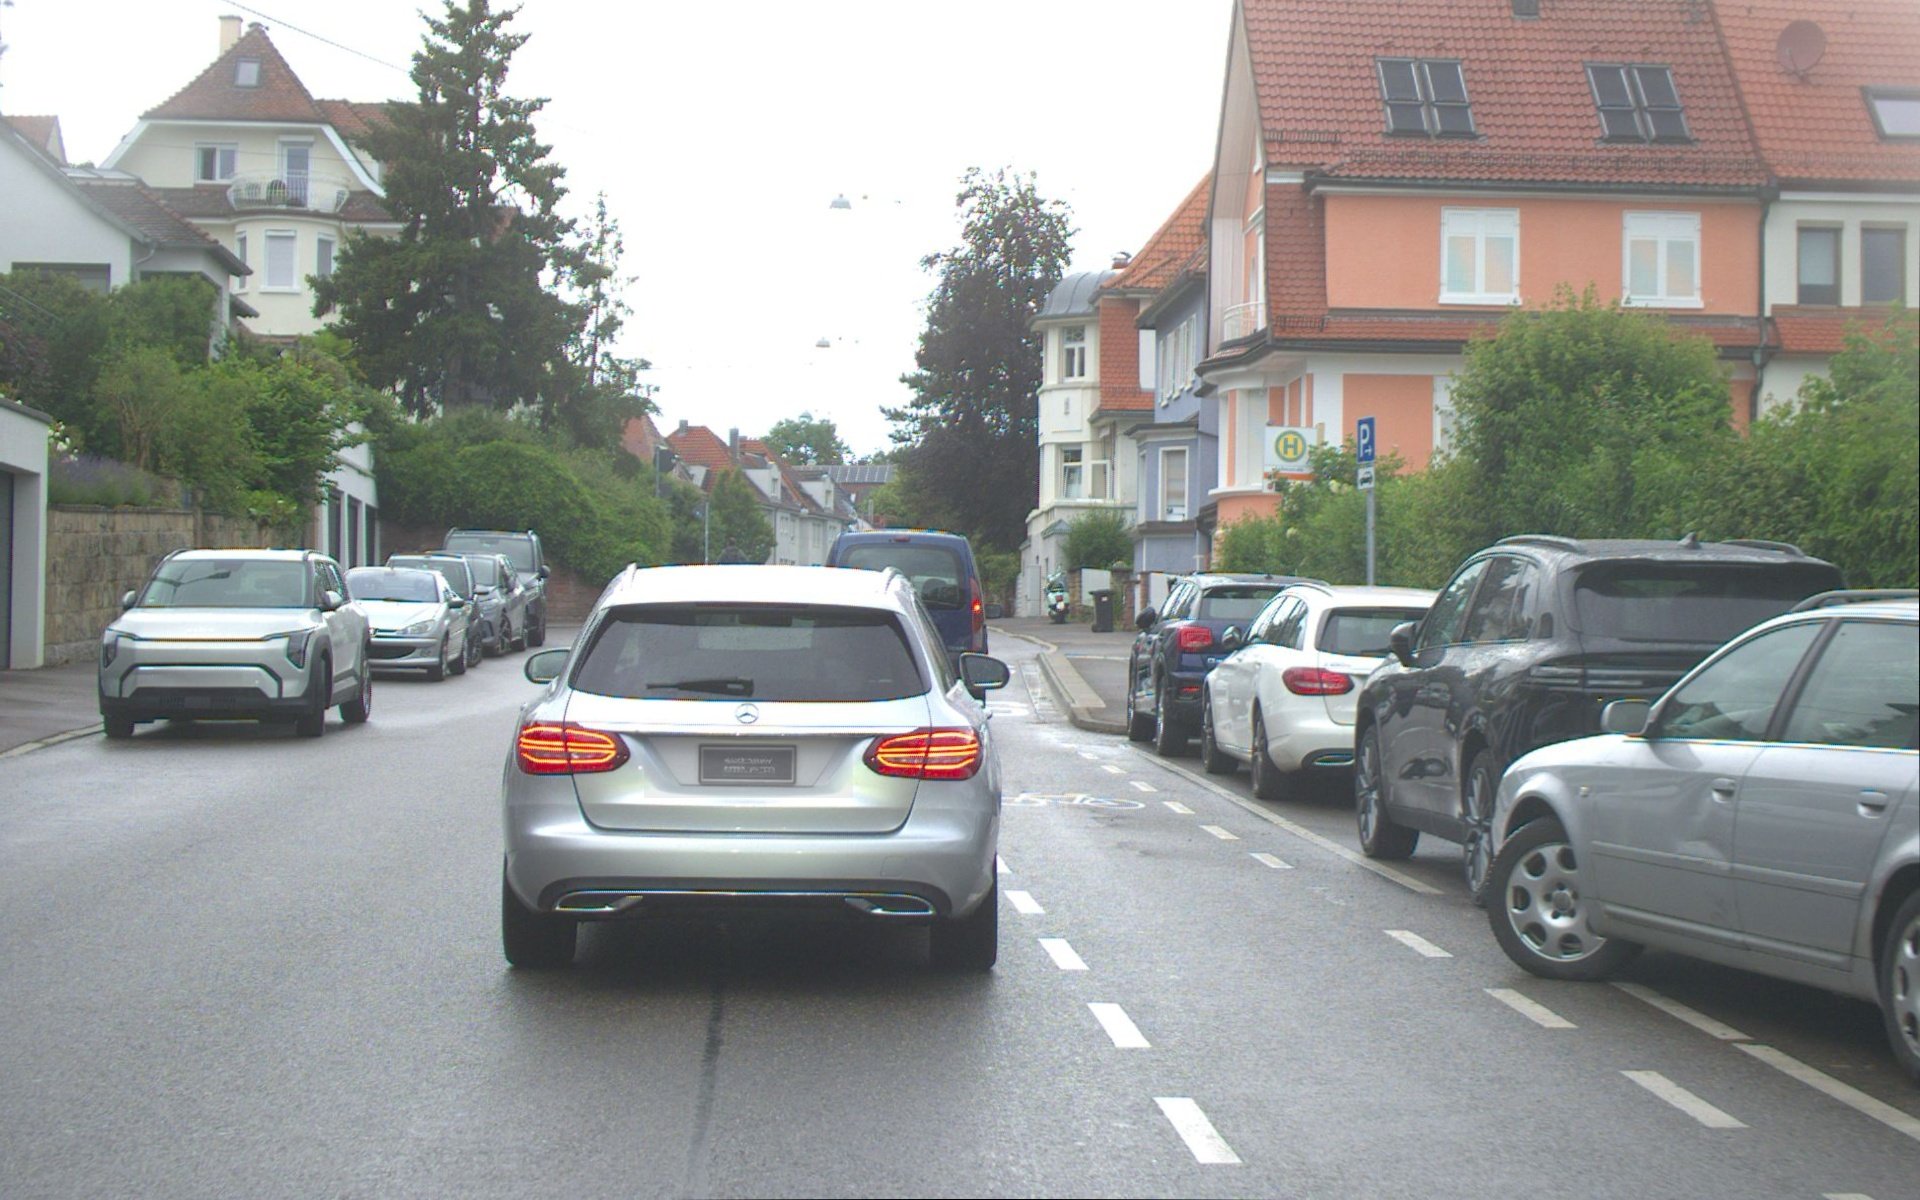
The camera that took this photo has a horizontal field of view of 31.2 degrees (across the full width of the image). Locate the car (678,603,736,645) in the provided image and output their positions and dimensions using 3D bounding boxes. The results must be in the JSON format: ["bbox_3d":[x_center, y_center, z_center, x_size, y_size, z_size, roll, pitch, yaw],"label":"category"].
[{"bbox_3d":[-9.701,0.909,132.254,2.117,1.466,4.017,2,0,-3],"label":"car"}]

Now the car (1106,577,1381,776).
[{"bbox_3d":[2.360,0.612,29.597,1.753,1.525,4.206,2,0,-3],"label":"car"}]

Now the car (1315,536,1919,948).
[{"bbox_3d":[3.090,0.585,16.800,1.887,1.657,4.549,3,0,-4],"label":"car"}]

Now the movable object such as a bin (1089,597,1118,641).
[{"bbox_3d":[3.077,0.401,73.672,0.549,0.933,0.634,-1,0,-2],"label":"movable object such as a bin"}]

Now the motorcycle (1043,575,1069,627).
[{"bbox_3d":[2.318,0.019,83.144,0.582,1.257,2.331,0,0,1],"label":"motorcycle"}]

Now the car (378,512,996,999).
[{"bbox_3d":[-0.926,0.495,13.383,1.982,1.548,4.298,1,0,-1],"label":"car"}]

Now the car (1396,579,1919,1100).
[{"bbox_3d":[3.233,0.711,11.405,1.798,1.435,4.644,2,1,-16],"label":"car"}]

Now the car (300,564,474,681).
[{"bbox_3d":[-7.118,0.250,43.006,1.609,1.333,3.841,2,0,-2],"label":"car"}]

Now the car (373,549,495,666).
[{"bbox_3d":[-7.279,0.085,47.775,1.496,1.518,3.160,2,0,-6],"label":"car"}]

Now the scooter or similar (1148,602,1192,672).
[{"bbox_3d":[3.778,0.653,61.707,0.693,1.220,1.299,2,0,6],"label":"scooter or similar"}]

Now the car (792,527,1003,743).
[{"bbox_3d":[-0.551,0.272,32.759,1.824,1.876,4.095,-2,1,0],"label":"car"}]

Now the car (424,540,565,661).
[{"bbox_3d":[-7.859,-0.010,58.448,2.128,1.854,5.595,3,0,-6],"label":"car"}]

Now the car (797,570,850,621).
[{"bbox_3d":[-6.531,-0.233,165.118,2.466,2.392,4.000,-1,0,-2],"label":"car"}]

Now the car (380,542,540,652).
[{"bbox_3d":[-7.573,-0.067,52.438,1.898,1.510,4.342,3,0,-2],"label":"car"}]

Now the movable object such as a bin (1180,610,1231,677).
[{"bbox_3d":[3.853,0.682,54.028,0.711,1.026,0.757,0,0,-3],"label":"movable object such as a bin"}]

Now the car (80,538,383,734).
[{"bbox_3d":[-6.305,0.280,30.185,1.898,1.562,4.238,1,0,-2],"label":"car"}]

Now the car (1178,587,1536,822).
[{"bbox_3d":[2.679,0.657,24.215,1.713,1.400,4.608,2,0,-3],"label":"car"}]
